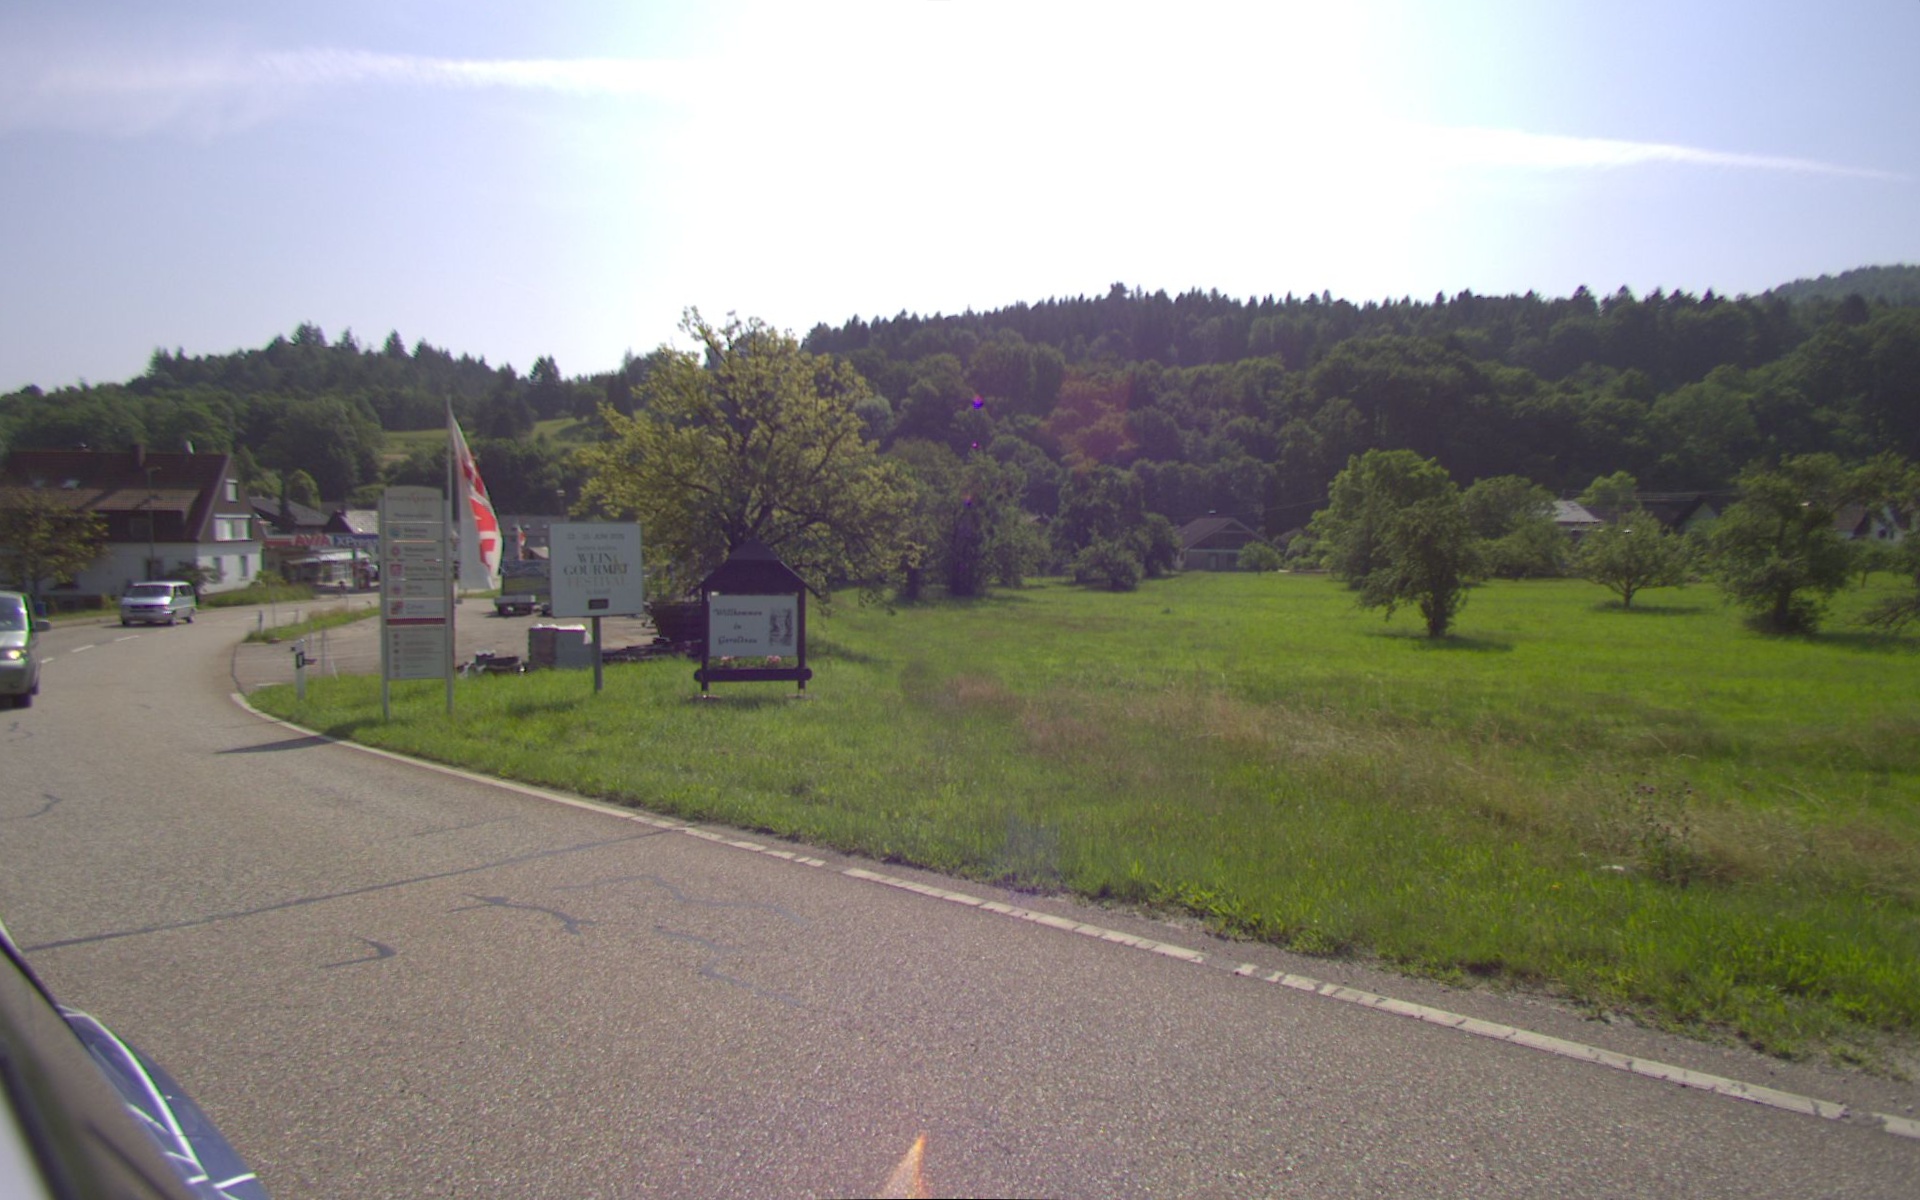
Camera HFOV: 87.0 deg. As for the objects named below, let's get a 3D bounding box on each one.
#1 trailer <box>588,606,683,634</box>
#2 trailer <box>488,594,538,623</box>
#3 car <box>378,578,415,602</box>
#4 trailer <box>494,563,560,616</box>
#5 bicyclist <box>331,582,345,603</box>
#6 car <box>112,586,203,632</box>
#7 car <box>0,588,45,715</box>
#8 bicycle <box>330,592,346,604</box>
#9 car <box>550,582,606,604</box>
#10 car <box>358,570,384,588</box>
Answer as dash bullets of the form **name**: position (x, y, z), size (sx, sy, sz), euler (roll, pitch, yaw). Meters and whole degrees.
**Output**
- **trailer**: position (-14.334, 0.857, 44.797), size (3.878, 0.946, 1.874), euler (-2, 4, -17)
- **trailer**: position (-23.657, 0.405, 53.744), size (1.966, 1.235, 5.565), euler (-2, 3, -20)
- **car**: position (-47.099, -0.851, 84.688), size (1.739, 1.758, 3.993), euler (-1, 4, -15)
- **trailer**: position (-25.097, -0.647, 58.762), size (3.344, 2.933, 1.890), euler (-2, 2, -22)
- **bicyclist**: position (-50.001, -0.584, 81.401), size (0.678, 1.645, 1.144), euler (-3, 1, -21)
- **car**: position (-36.051, 0.344, 45.593), size (1.864, 1.871, 4.719), euler (-1, 2, -21)
- **car**: position (-17.202, 0.780, 17.374), size (1.995, 1.997, 5.053), euler (2, -1, -44)
- **bicycle**: position (-49.905, -0.182, 81.243), size (0.678, 0.924, 1.956), euler (-3, 1, -21)
- **car**: position (-30.944, -0.593, 82.119), size (1.818, 1.661, 4.889), euler (0, 2, 13)
- **car**: position (-68.673, -2.455, 118.049), size (1.657, 1.829, 4.012), euler (-2, 4, -15)
